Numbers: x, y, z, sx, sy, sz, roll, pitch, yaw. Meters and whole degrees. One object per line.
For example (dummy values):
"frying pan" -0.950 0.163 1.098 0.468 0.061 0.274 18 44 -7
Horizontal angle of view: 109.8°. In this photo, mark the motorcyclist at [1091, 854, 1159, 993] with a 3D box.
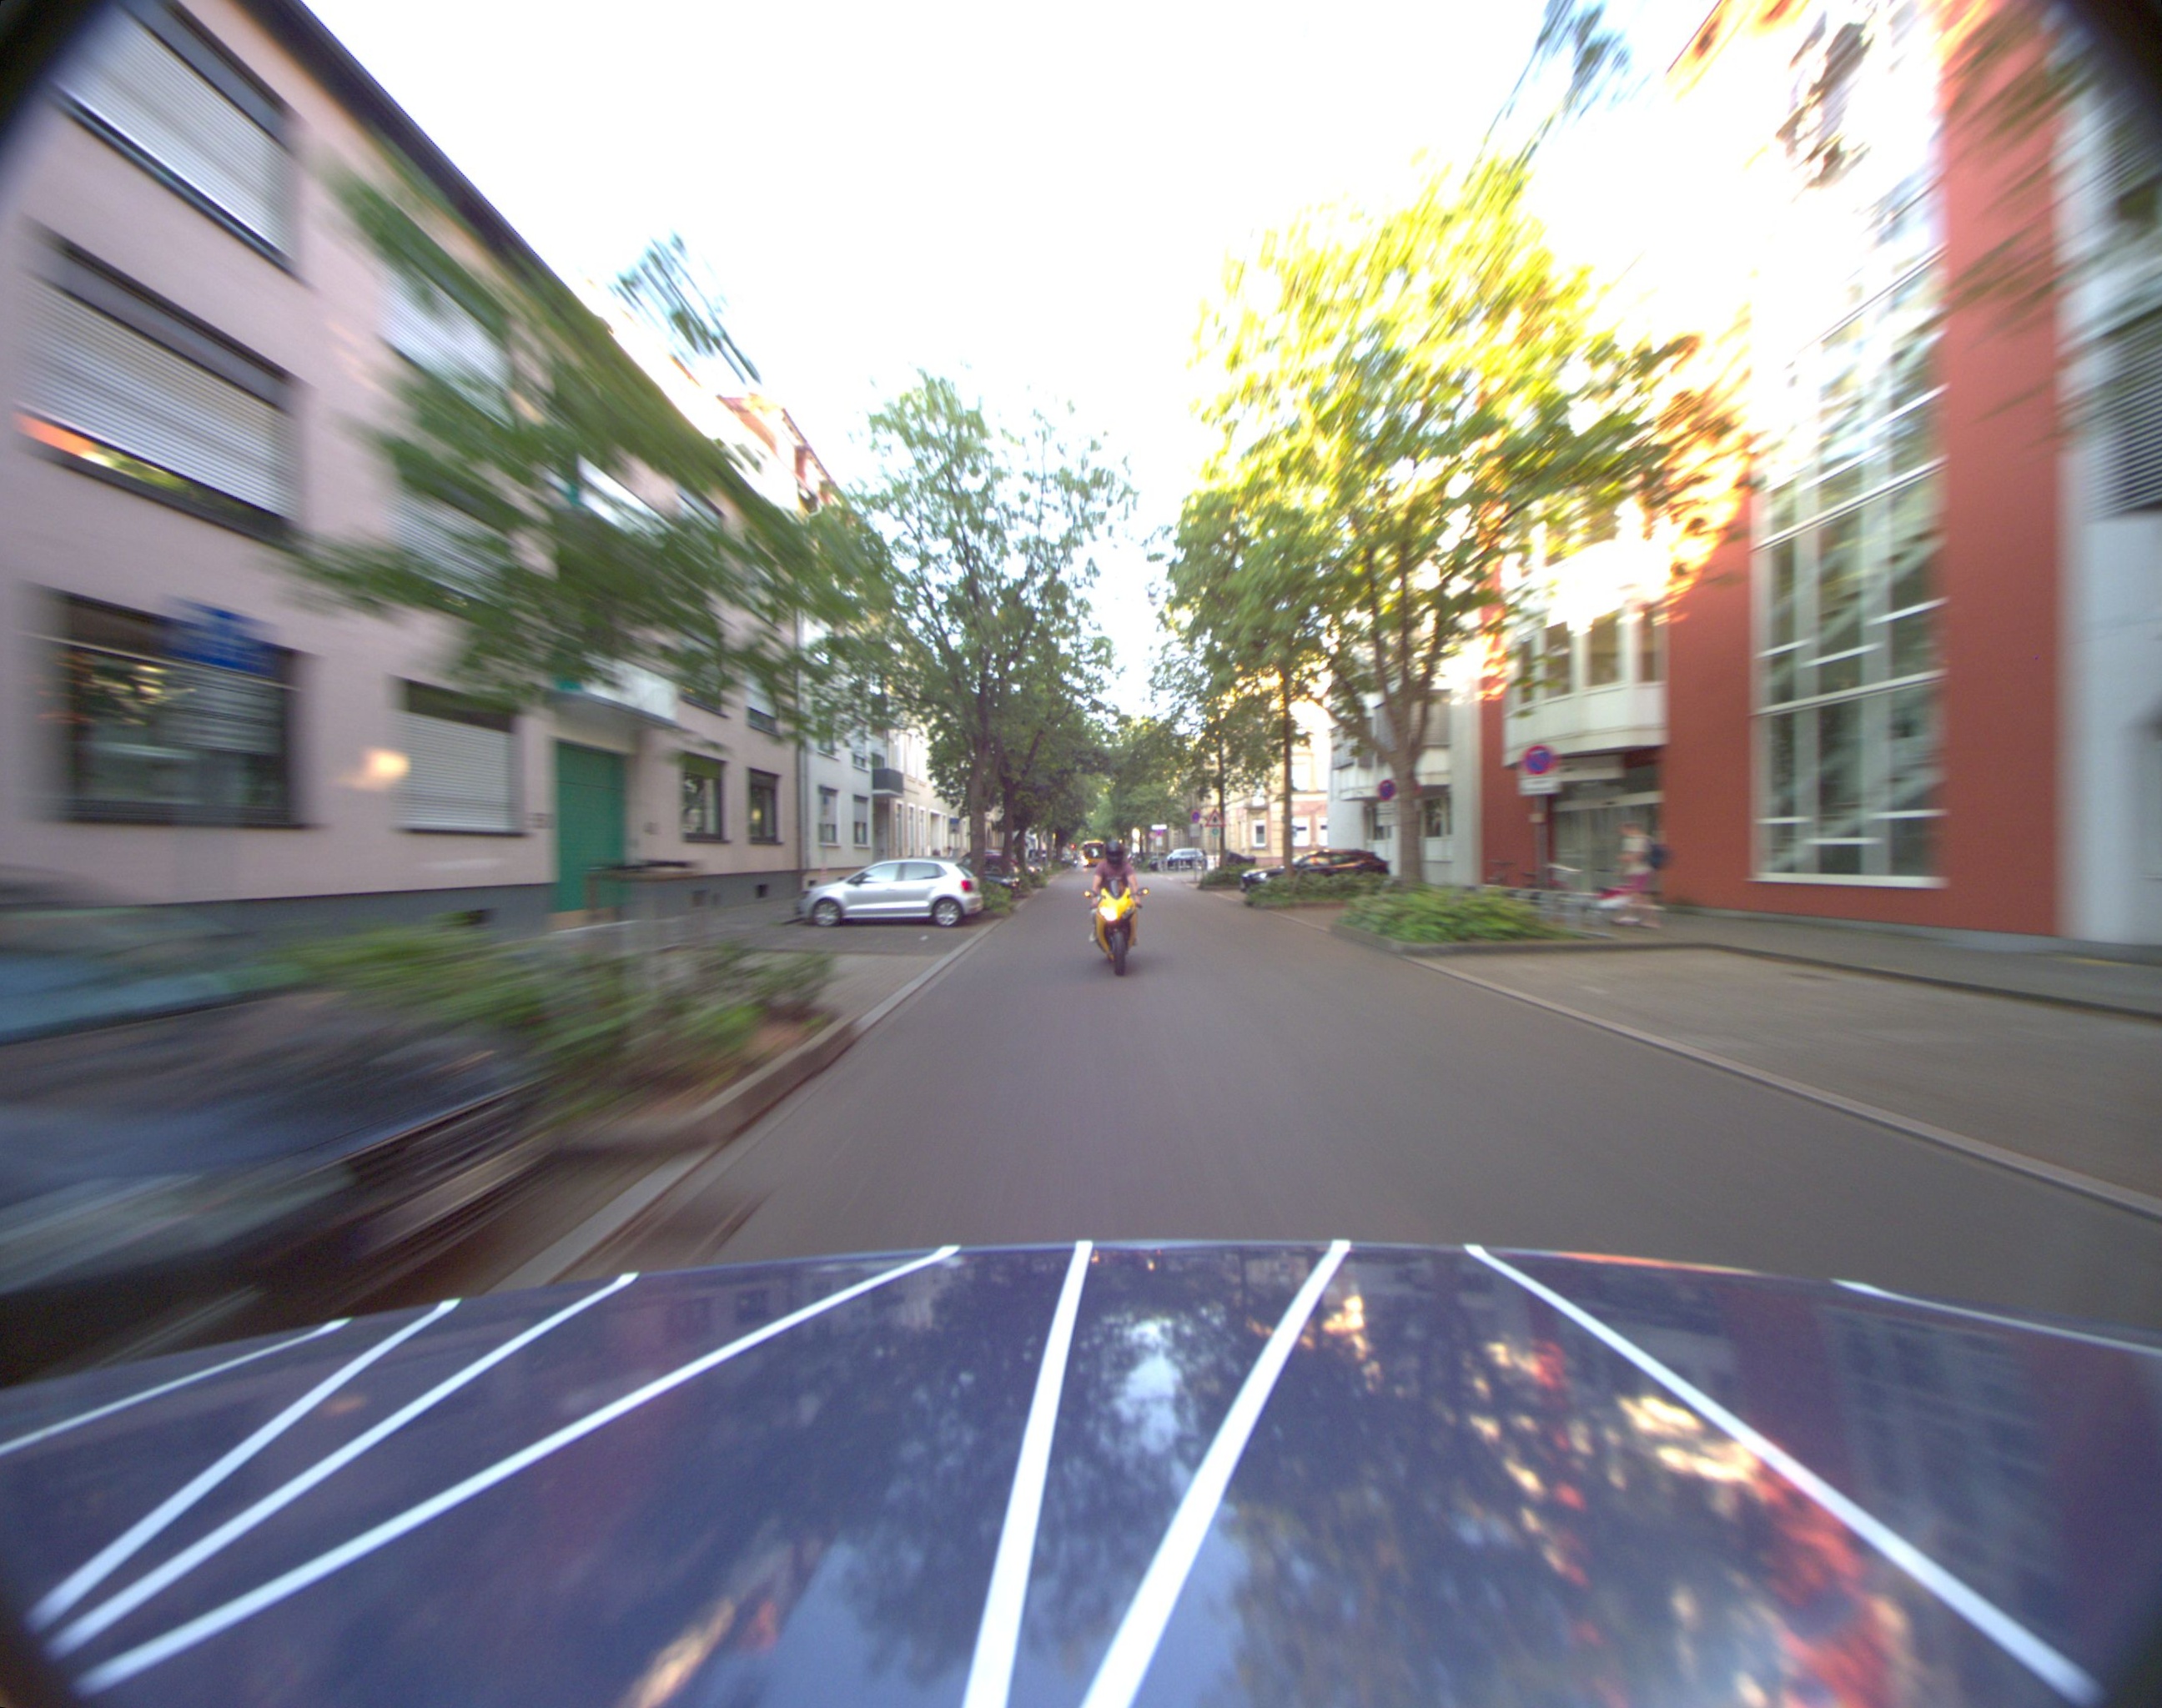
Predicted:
"motorcyclist" 0.519 0.807 9.295 0.722 1.605 0.915 -1 1 -2

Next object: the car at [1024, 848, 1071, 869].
"car" -2.868 0.368 65.073 3.998 1.752 1.999 0 1 -2

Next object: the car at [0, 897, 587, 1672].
"car" -4.470 0.933 2.512 4.594 1.461 1.696 1 1 2

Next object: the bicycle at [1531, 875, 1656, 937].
"bicycle" 8.916 0.879 13.268 0.456 0.981 1.750 -1 1 -43

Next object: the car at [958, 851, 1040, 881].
"car" -4.062 0.564 38.027 3.858 1.390 1.675 1 0 1

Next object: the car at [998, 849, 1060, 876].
"car" -3.372 0.540 49.714 3.998 1.752 1.999 0 1 -2

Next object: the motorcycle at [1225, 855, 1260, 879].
"motorcycle" 8.237 0.639 38.833 1.626 1.136 0.572 -3 1 3

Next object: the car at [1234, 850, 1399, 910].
"car" 7.073 0.755 23.092 4.475 1.748 1.791 0 1 -3

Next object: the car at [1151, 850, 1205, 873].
"car" 7.386 0.577 58.064 3.858 1.623 1.675 1 0 1

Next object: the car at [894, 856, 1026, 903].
"car" -3.817 0.786 24.376 3.857 1.390 1.675 1 0 4

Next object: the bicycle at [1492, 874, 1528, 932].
"bicycle" 8.198 0.902 14.569 0.454 0.981 1.758 0 1 25

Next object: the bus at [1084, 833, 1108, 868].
"bus" 1.812 -0.394 92.682 2.833 4.086 7.831 0 0 1

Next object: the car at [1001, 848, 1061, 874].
"car" -3.384 0.472 51.992 3.998 1.752 1.999 0 1 -2

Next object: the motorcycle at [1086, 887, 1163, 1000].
"motorcycle" 0.477 1.018 9.320 0.736 1.115 2.107 -1 0 -2

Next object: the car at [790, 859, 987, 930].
"car" -4.044 0.836 16.459 3.859 1.390 1.674 1 0 -3

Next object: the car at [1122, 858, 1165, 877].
"car" 6.042 1.282 73.851 3.998 1.752 1.999 0 1 -2

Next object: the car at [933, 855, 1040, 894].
"car" -3.596 0.781 29.402 3.858 1.390 1.675 1 0 1

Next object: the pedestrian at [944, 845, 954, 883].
"pedestrian" -6.949 0.523 40.091 0.449 2.002 0.485 0 1 1

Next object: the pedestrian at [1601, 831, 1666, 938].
"pedestrian" 9.177 0.493 12.650 0.637 1.734 0.679 0 1 9

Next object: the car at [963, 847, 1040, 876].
"car" -4.152 0.390 40.115 3.858 1.390 1.675 1 0 1

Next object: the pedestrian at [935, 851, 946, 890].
"pedestrian" -7.265 0.853 39.270 0.449 2.002 0.485 0 1 1
